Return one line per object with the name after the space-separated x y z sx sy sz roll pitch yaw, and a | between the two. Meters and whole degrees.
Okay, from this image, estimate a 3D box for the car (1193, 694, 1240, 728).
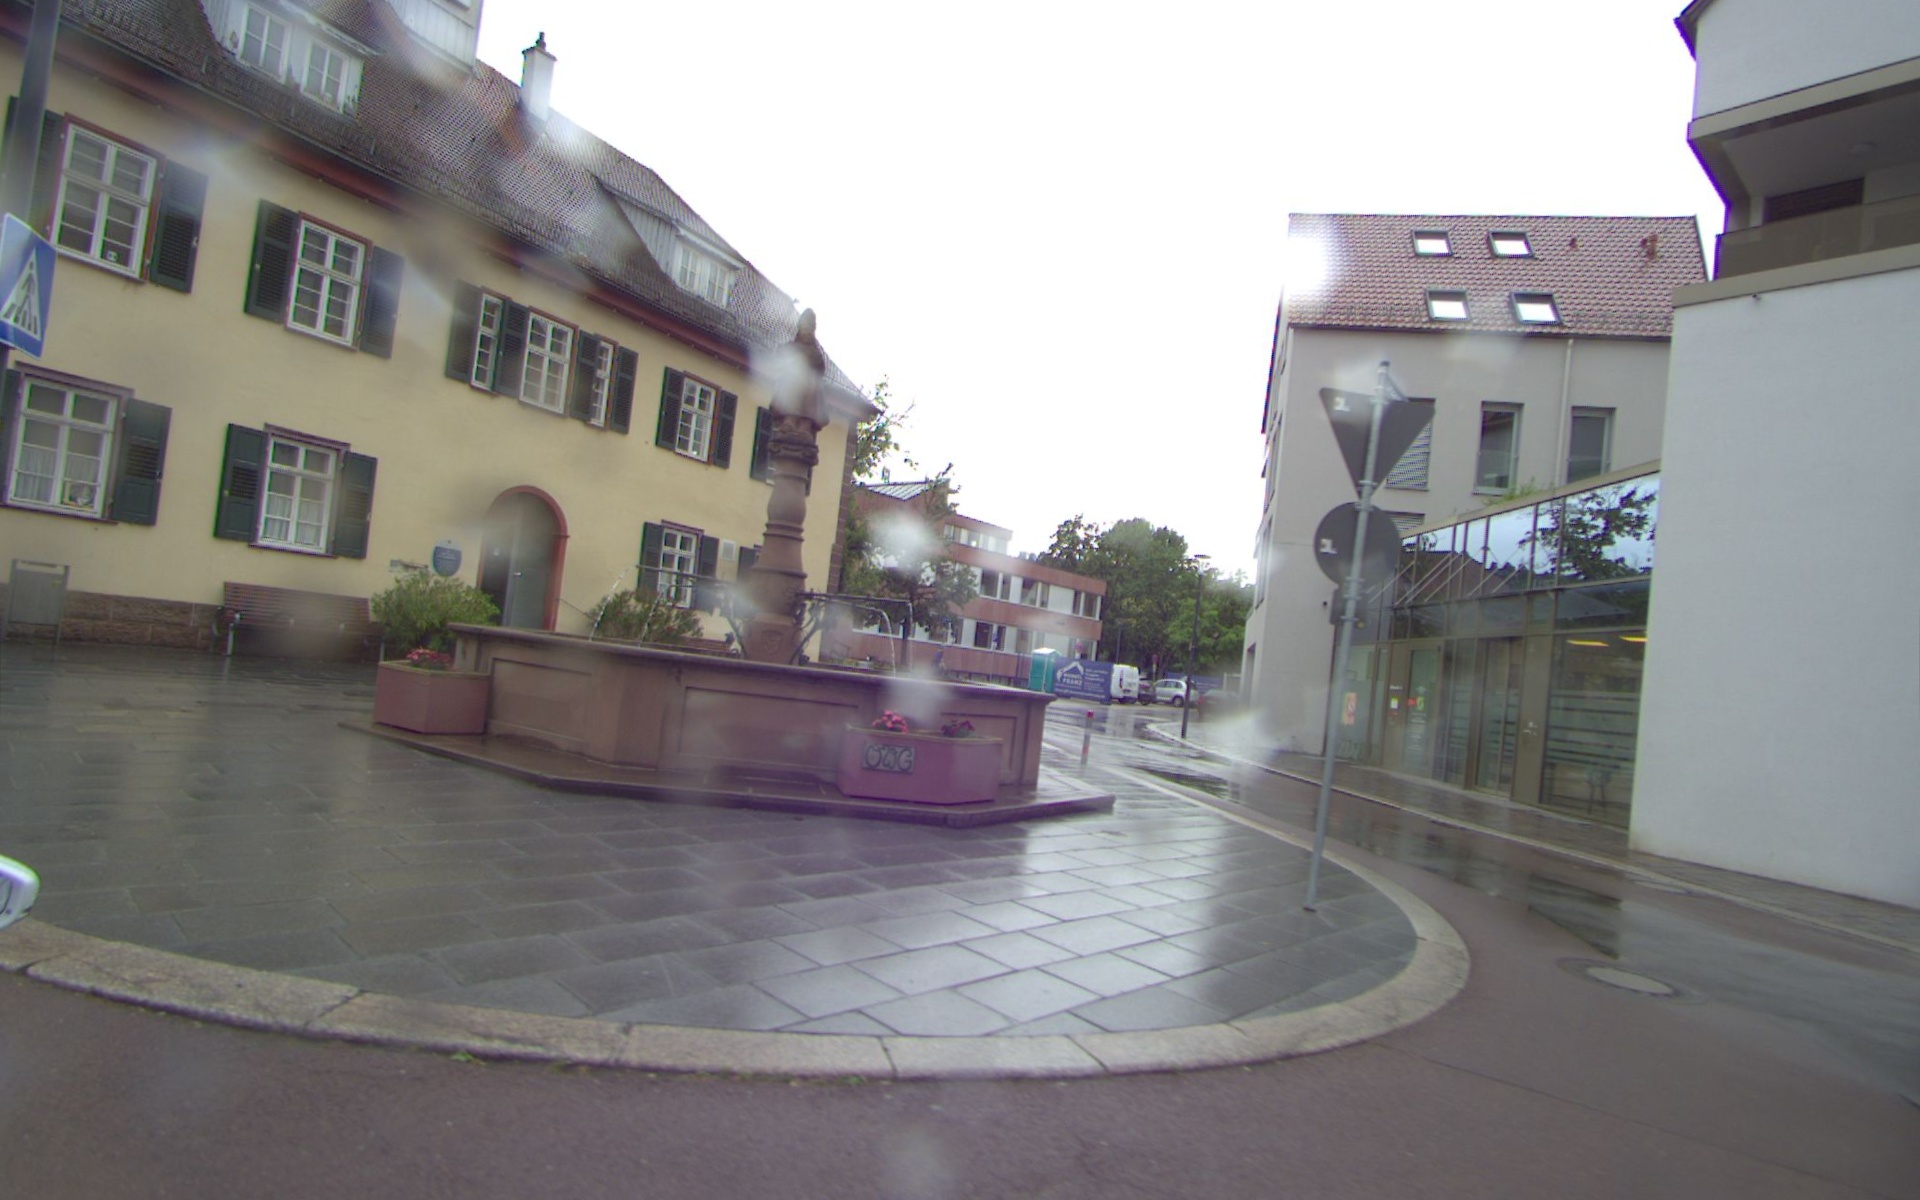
12.504 5.373 48.841 1.642 1.378 3.609 6 -3 22 | car

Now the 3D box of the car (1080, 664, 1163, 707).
8.921 4.737 55.647 3.934 1.814 1.998 6 -2 32 | car

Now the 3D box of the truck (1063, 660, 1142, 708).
7.483 4.381 52.781 3.490 2.037 1.862 6 -2 32 | truck

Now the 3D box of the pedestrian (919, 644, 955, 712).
-0.650 2.213 28.758 0.777 1.843 0.687 7 -1 5 | pedestrian

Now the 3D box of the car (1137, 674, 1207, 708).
12.617 5.407 59.864 3.490 1.566 1.862 5 -3 32 | car
